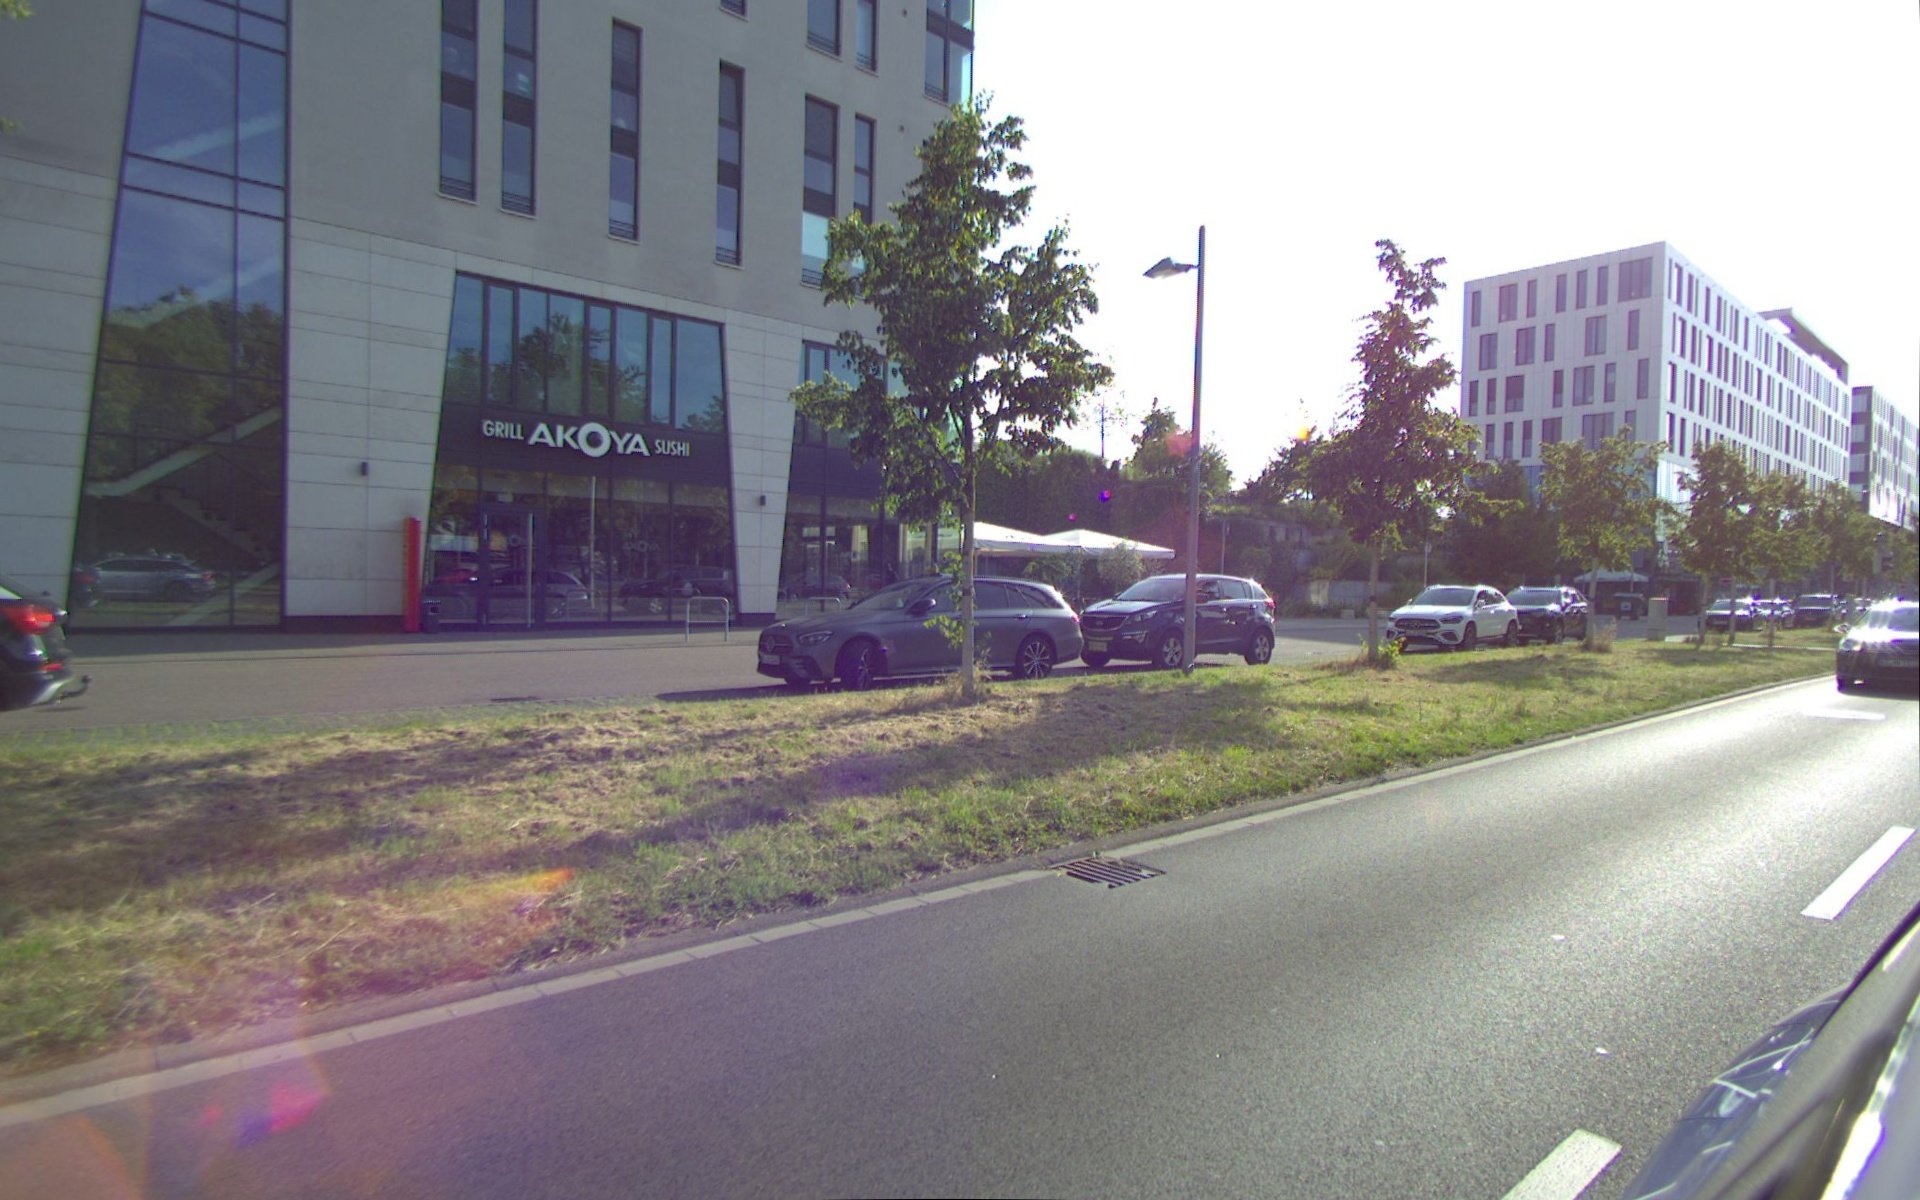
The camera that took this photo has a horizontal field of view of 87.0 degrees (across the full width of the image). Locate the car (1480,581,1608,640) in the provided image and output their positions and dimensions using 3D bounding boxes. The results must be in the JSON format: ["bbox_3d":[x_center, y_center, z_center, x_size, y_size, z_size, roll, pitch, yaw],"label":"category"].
[{"bbox_3d":[16.544,0.237,28.579,4.253,1.549,1.838,-1,0,-41],"label":"car"}]

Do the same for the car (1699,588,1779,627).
[{"bbox_3d":[32.727,0.286,42.472,4.253,1.549,1.838,-1,0,-41],"label":"car"}]

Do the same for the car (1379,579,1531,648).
[{"bbox_3d":[12.184,0.285,24.794,4.253,1.549,1.838,-1,0,-41],"label":"car"}]

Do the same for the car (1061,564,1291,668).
[{"bbox_3d":[3.879,0.218,17.815,4.253,1.618,1.763,-1,0,-41],"label":"car"}]

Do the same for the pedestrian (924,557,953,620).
[{"bbox_3d":[-0.567,-0.307,26.434,0.562,1.621,0.499,0,0,-41],"label":"pedestrian"}]

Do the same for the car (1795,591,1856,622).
[{"bbox_3d":[46.460,0.308,54.305,4.253,1.549,1.838,-1,0,-41],"label":"car"}]

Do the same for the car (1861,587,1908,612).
[{"bbox_3d":[61.219,-0.037,66.996,4.253,1.549,1.838,-1,0,-41],"label":"car"}]

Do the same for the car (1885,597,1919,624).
[{"bbox_3d":[67.328,0.729,72.013,3.825,1.810,1.739,-1,0,-41],"label":"car"}]

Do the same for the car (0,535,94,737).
[{"bbox_3d":[-8.861,0.287,7.129,4.140,1.507,1.762,-1,0,-43],"label":"car"}]

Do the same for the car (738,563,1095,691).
[{"bbox_3d":[-0.476,0.289,14.095,4.828,1.507,1.765,-1,0,-37],"label":"car"}]

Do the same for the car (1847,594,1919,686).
[{"bbox_3d":[16.902,0.629,17.593,3.969,1.442,1.697,-1,0,-41],"label":"car"}]
